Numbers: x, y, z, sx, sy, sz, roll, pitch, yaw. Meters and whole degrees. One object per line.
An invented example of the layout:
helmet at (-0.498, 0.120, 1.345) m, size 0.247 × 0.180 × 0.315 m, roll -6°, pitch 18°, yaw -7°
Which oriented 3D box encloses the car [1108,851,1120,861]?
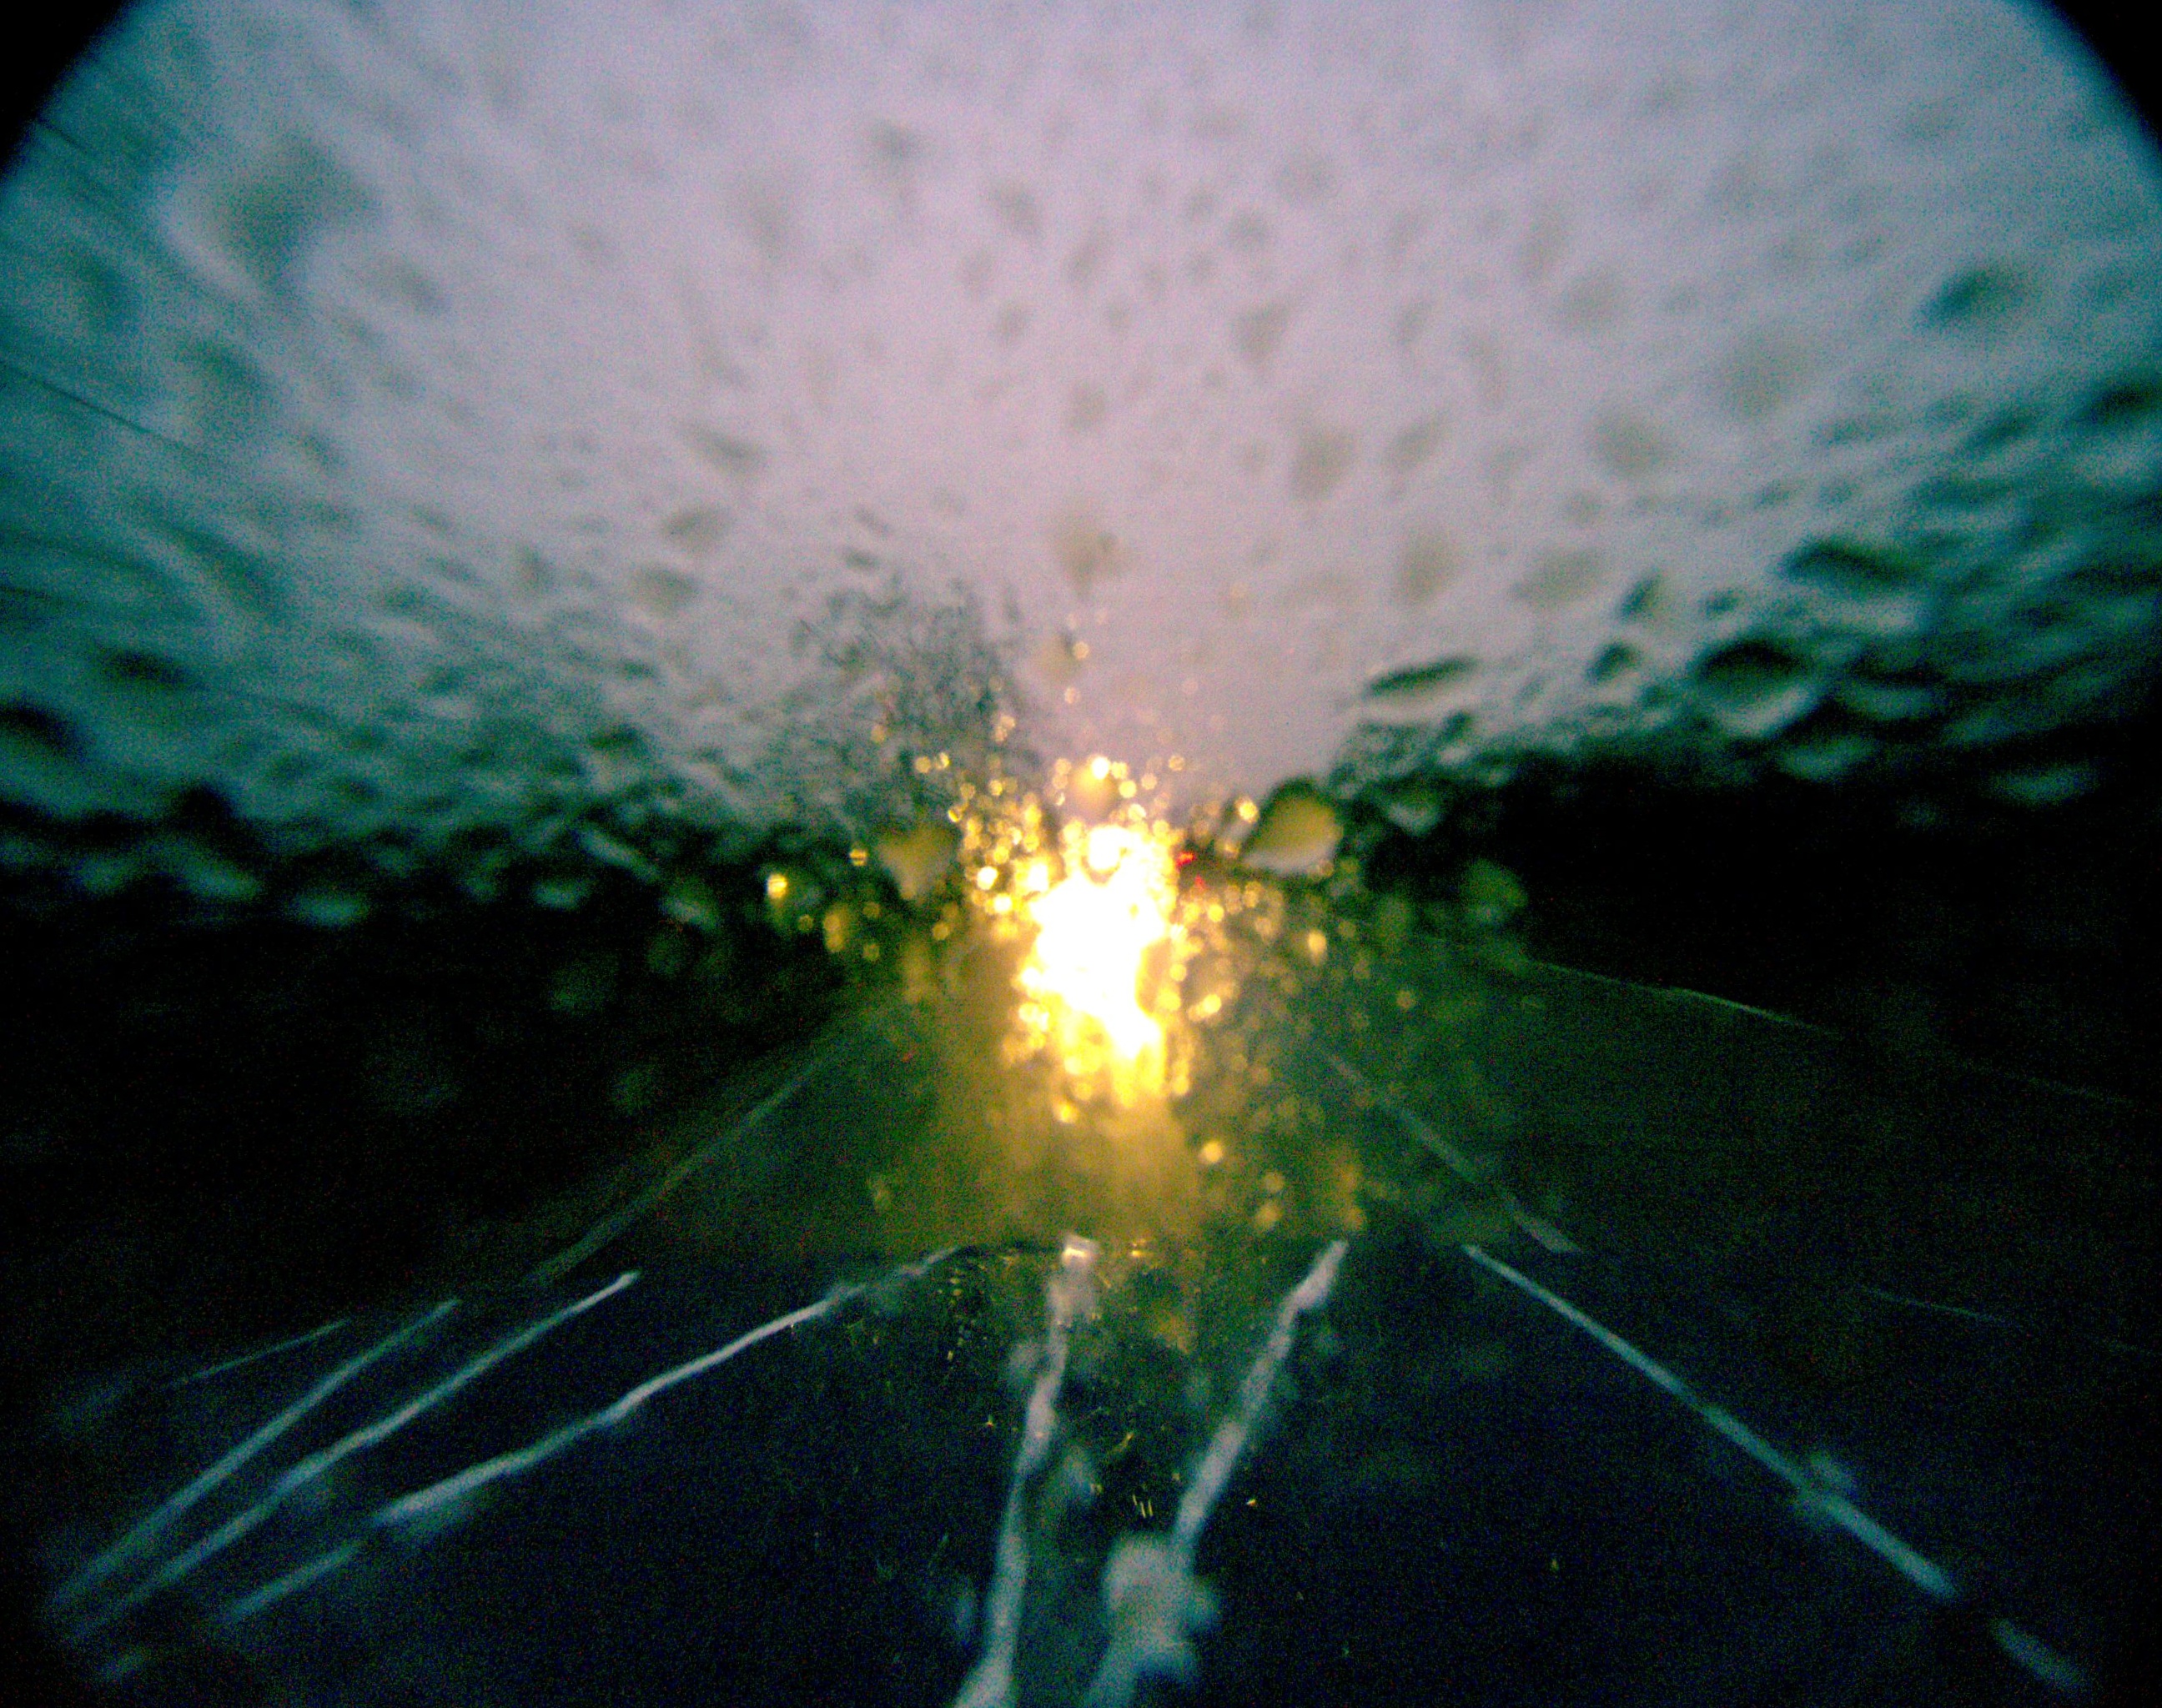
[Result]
car at (5.668, 0.311, 131.816) m, size 1.927 × 1.645 × 4.104 m, roll -2°, pitch 0°, yaw 0°

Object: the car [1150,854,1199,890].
car at (4.160, 0.747, 34.329) m, size 1.755 × 1.465 × 3.891 m, roll -2°, pitch 0°, yaw 1°

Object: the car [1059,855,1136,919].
car at (0.588, 0.903, 22.546) m, size 1.998 × 1.601 × 4.001 m, roll -3°, pitch 0°, yaw 5°

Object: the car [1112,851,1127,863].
car at (4.900, 0.404, 96.971) m, size 1.821 × 1.433 × 3.456 m, roll -3°, pitch 0°, yaw 3°
